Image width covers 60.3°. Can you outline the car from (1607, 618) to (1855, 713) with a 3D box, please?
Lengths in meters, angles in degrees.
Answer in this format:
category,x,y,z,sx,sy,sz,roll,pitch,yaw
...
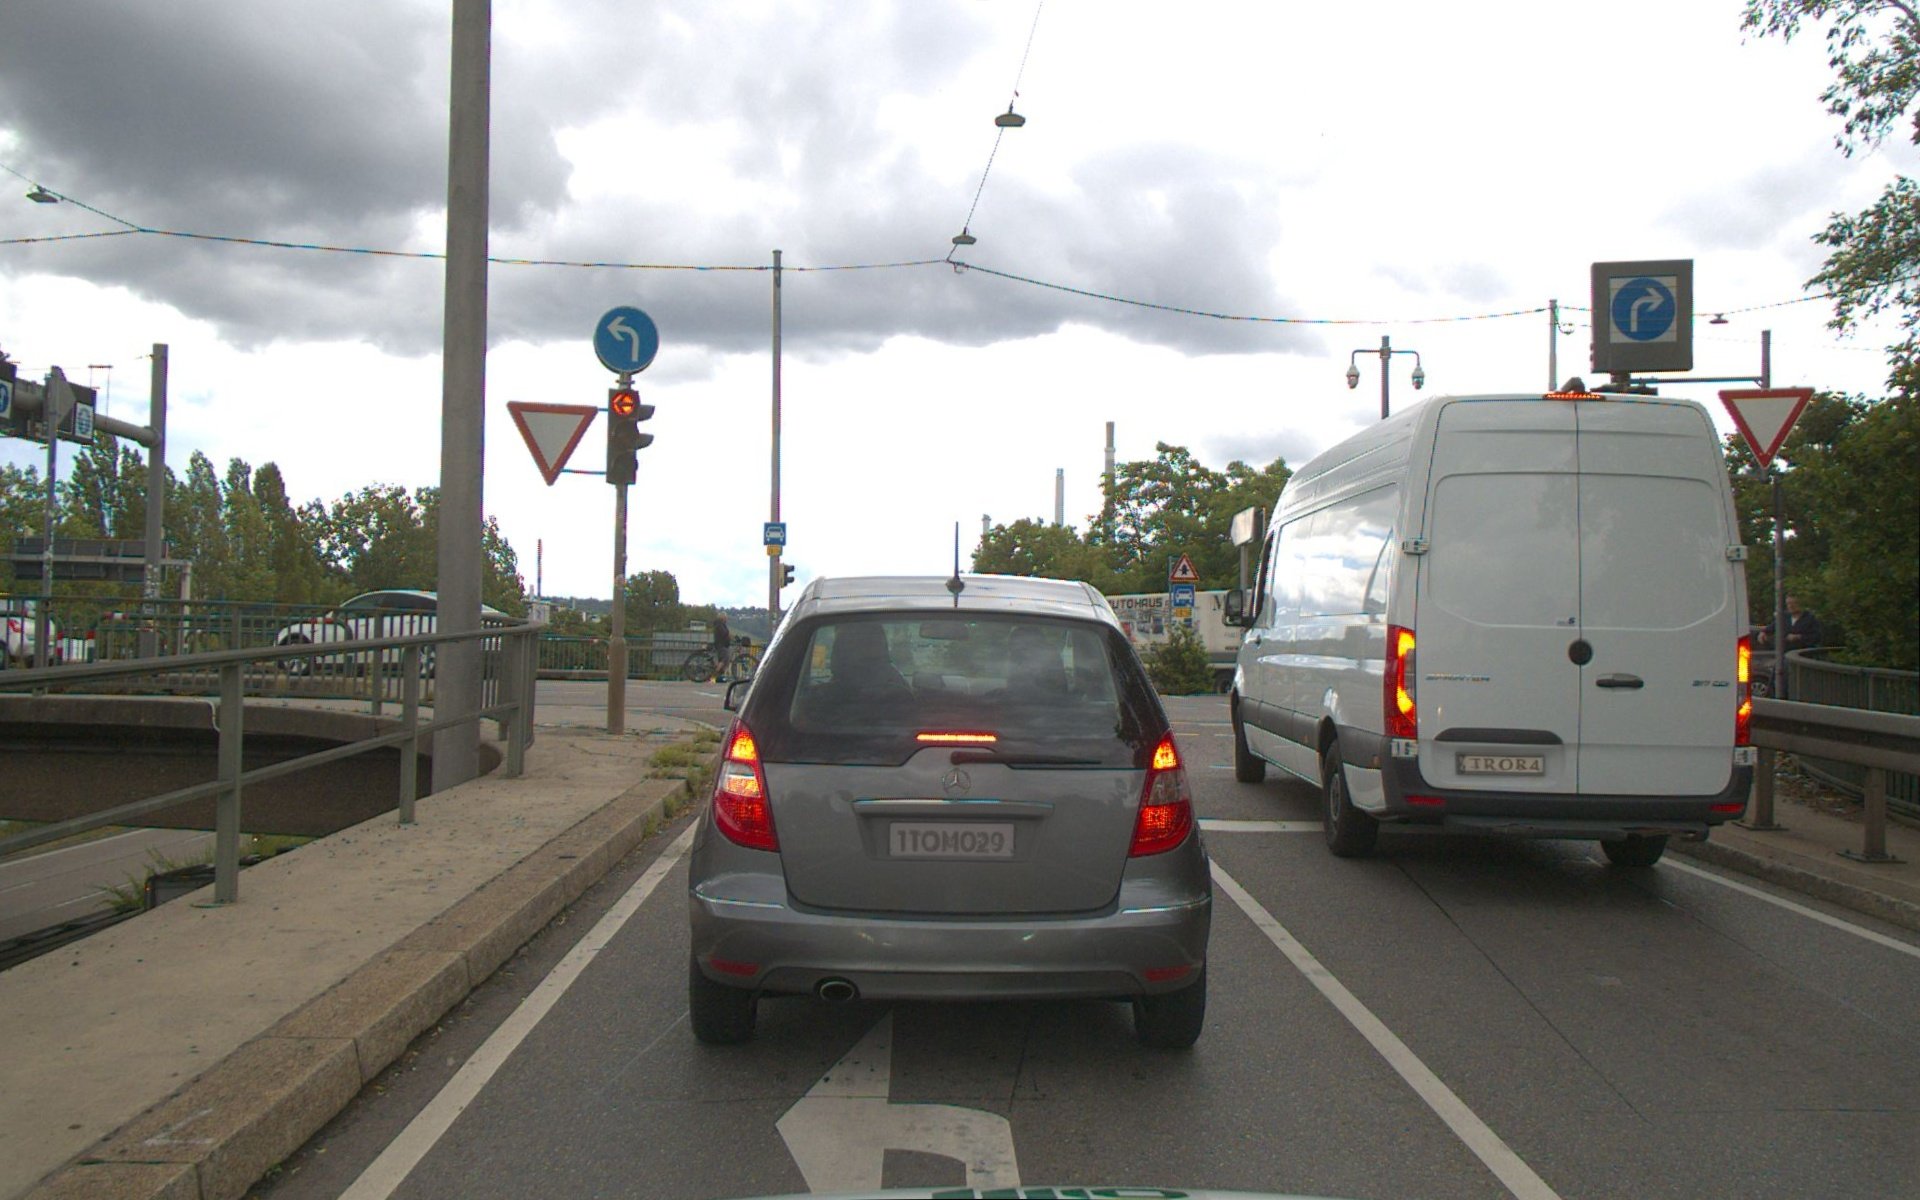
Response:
category,x,y,z,sx,sy,sz,roll,pitch,yaw
car,14.648,1.217,31.574,3.904,1.694,1.813,0,1,2

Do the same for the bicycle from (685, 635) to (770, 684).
category,x,y,z,sx,sy,sz,roll,pitch,yaw
bicycle,-5.632,1.430,39.973,1.996,1.144,0.927,0,0,-12

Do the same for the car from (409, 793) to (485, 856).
category,x,y,z,sx,sy,sz,roll,pitch,yaw
car,-17.835,7.793,57.690,1.806,1.743,4.271,0,-2,-8

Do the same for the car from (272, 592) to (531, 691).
category,x,y,z,sx,sy,sz,roll,pitch,yaw
car,-10.494,0.735,31.168,4.298,1.747,1.939,0,1,16

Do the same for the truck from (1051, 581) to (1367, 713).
category,x,y,z,sx,sy,sz,roll,pitch,yaw
truck,7.254,1.229,50.043,2.774,3.580,10.094,0,1,-41

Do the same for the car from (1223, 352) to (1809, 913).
category,x,y,z,sx,sy,sz,roll,pitch,yaw
car,3.350,0.122,11.769,2.066,2.832,6.781,0,1,2

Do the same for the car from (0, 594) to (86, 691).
category,x,y,z,sx,sy,sz,roll,pitch,yaw
car,-19.068,0.774,31.402,3.904,1.747,1.938,0,1,1

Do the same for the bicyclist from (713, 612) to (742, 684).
category,x,y,z,sx,sy,sz,roll,pitch,yaw
bicyclist,-5.620,1.139,39.985,0.641,1.703,0.867,0,0,-11

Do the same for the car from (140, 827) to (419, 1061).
category,x,y,z,sx,sy,sz,roll,pitch,yaw
car,-12.997,6.458,32.403,2.313,3.297,7.657,0,-3,-1

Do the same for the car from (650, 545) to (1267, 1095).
category,x,y,z,sx,sy,sz,roll,pitch,yaw
car,0.040,0.615,6.892,1.819,1.616,4.001,0,1,1

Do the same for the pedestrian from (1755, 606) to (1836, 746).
category,x,y,z,sx,sy,sz,roll,pitch,yaw
pedestrian,10.175,0.909,20.139,0.769,1.647,0.674,1,0,38
